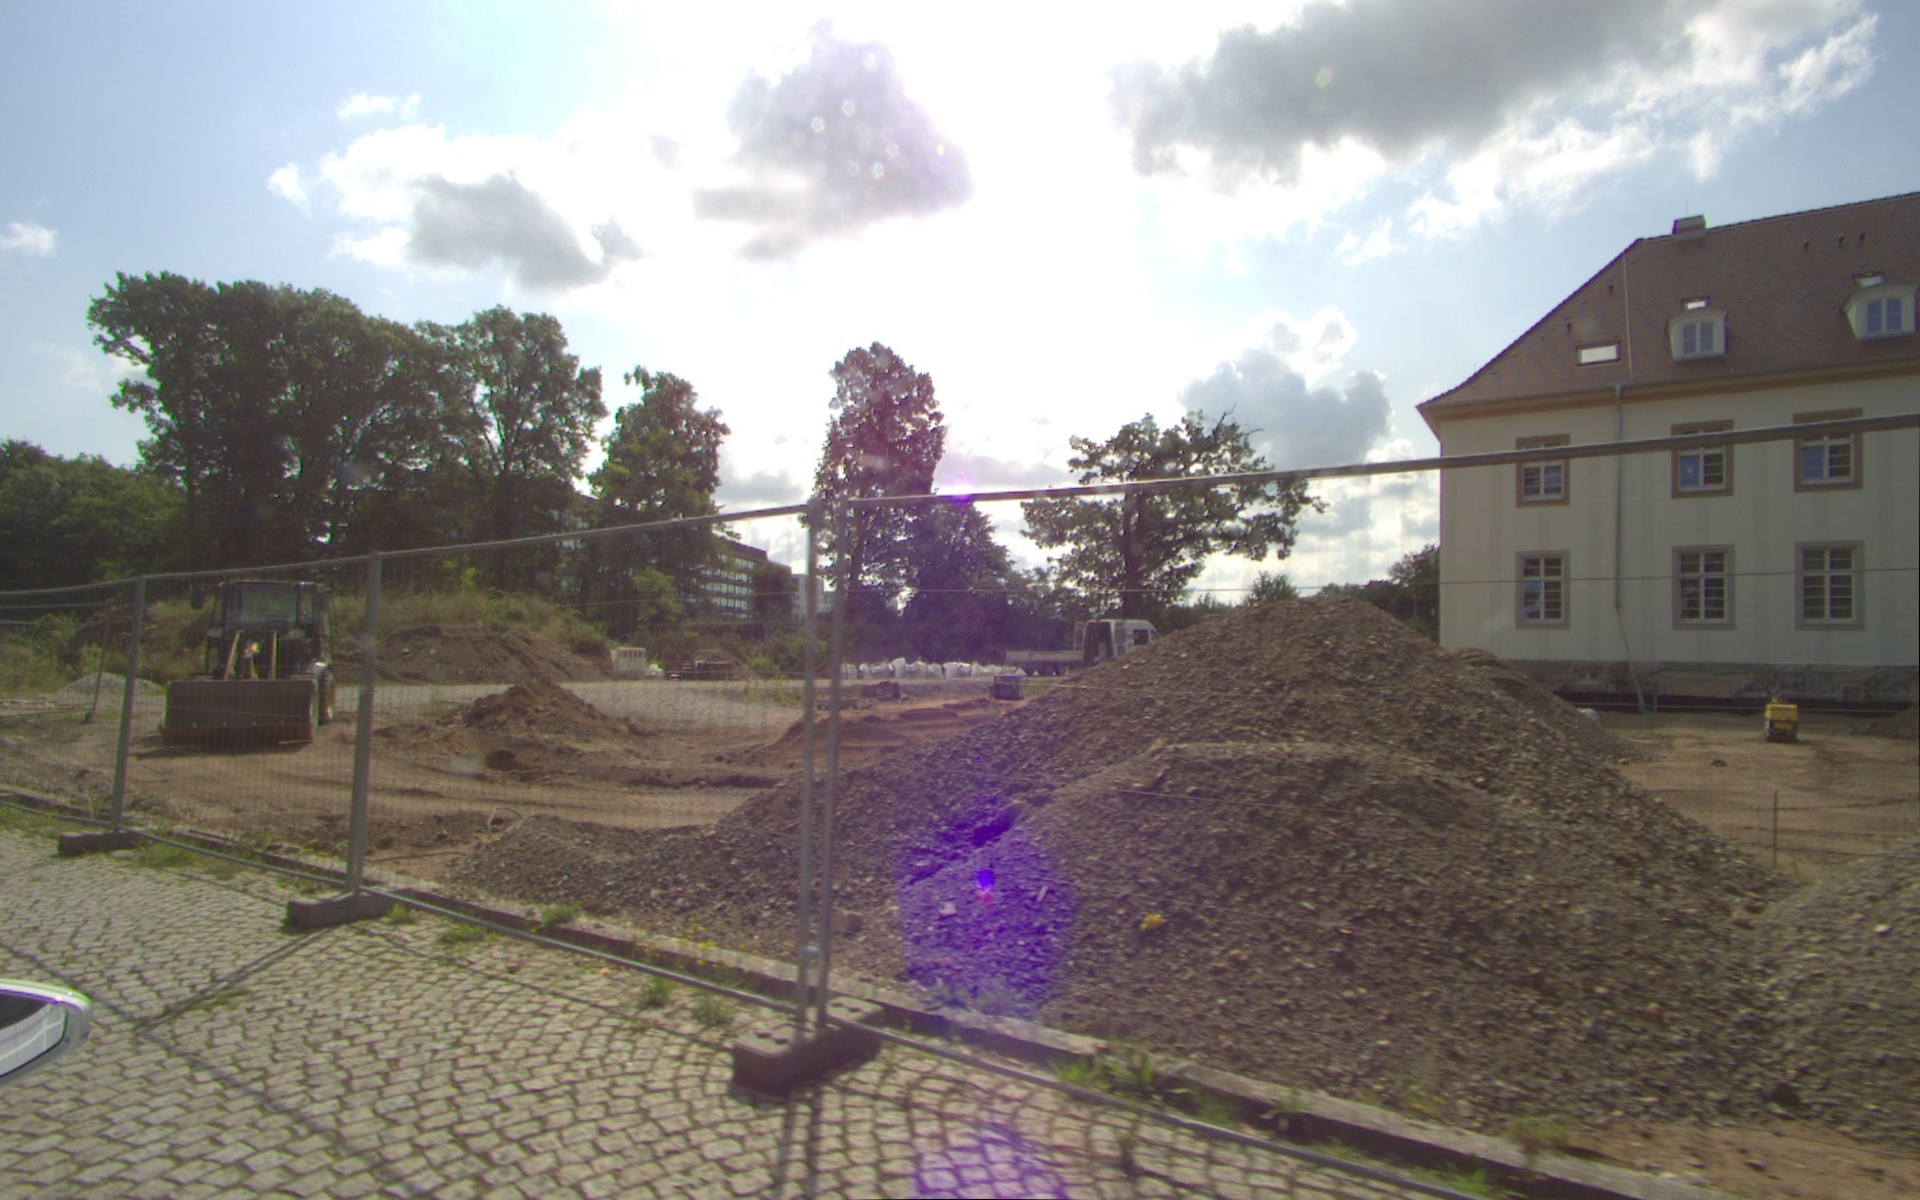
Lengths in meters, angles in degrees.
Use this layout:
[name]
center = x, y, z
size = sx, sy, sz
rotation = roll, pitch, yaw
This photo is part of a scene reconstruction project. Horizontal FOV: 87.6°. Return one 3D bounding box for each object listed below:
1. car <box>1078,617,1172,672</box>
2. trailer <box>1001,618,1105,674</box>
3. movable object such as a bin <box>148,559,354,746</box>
[car]
center = 8.404, 2.242, 50.581
size = 2.221, 2.624, 5.397
rotation = -1, -2, 40
[trailer]
center = 4.402, 2.151, 47.168
size = 4.785, 2.504, 1.948
rotation = 1, -2, -36
[movable object such as a bin]
center = -11.471, 0.764, 16.644
size = 2.118, 2.554, 5.629
rotation = 1, -1, -29
